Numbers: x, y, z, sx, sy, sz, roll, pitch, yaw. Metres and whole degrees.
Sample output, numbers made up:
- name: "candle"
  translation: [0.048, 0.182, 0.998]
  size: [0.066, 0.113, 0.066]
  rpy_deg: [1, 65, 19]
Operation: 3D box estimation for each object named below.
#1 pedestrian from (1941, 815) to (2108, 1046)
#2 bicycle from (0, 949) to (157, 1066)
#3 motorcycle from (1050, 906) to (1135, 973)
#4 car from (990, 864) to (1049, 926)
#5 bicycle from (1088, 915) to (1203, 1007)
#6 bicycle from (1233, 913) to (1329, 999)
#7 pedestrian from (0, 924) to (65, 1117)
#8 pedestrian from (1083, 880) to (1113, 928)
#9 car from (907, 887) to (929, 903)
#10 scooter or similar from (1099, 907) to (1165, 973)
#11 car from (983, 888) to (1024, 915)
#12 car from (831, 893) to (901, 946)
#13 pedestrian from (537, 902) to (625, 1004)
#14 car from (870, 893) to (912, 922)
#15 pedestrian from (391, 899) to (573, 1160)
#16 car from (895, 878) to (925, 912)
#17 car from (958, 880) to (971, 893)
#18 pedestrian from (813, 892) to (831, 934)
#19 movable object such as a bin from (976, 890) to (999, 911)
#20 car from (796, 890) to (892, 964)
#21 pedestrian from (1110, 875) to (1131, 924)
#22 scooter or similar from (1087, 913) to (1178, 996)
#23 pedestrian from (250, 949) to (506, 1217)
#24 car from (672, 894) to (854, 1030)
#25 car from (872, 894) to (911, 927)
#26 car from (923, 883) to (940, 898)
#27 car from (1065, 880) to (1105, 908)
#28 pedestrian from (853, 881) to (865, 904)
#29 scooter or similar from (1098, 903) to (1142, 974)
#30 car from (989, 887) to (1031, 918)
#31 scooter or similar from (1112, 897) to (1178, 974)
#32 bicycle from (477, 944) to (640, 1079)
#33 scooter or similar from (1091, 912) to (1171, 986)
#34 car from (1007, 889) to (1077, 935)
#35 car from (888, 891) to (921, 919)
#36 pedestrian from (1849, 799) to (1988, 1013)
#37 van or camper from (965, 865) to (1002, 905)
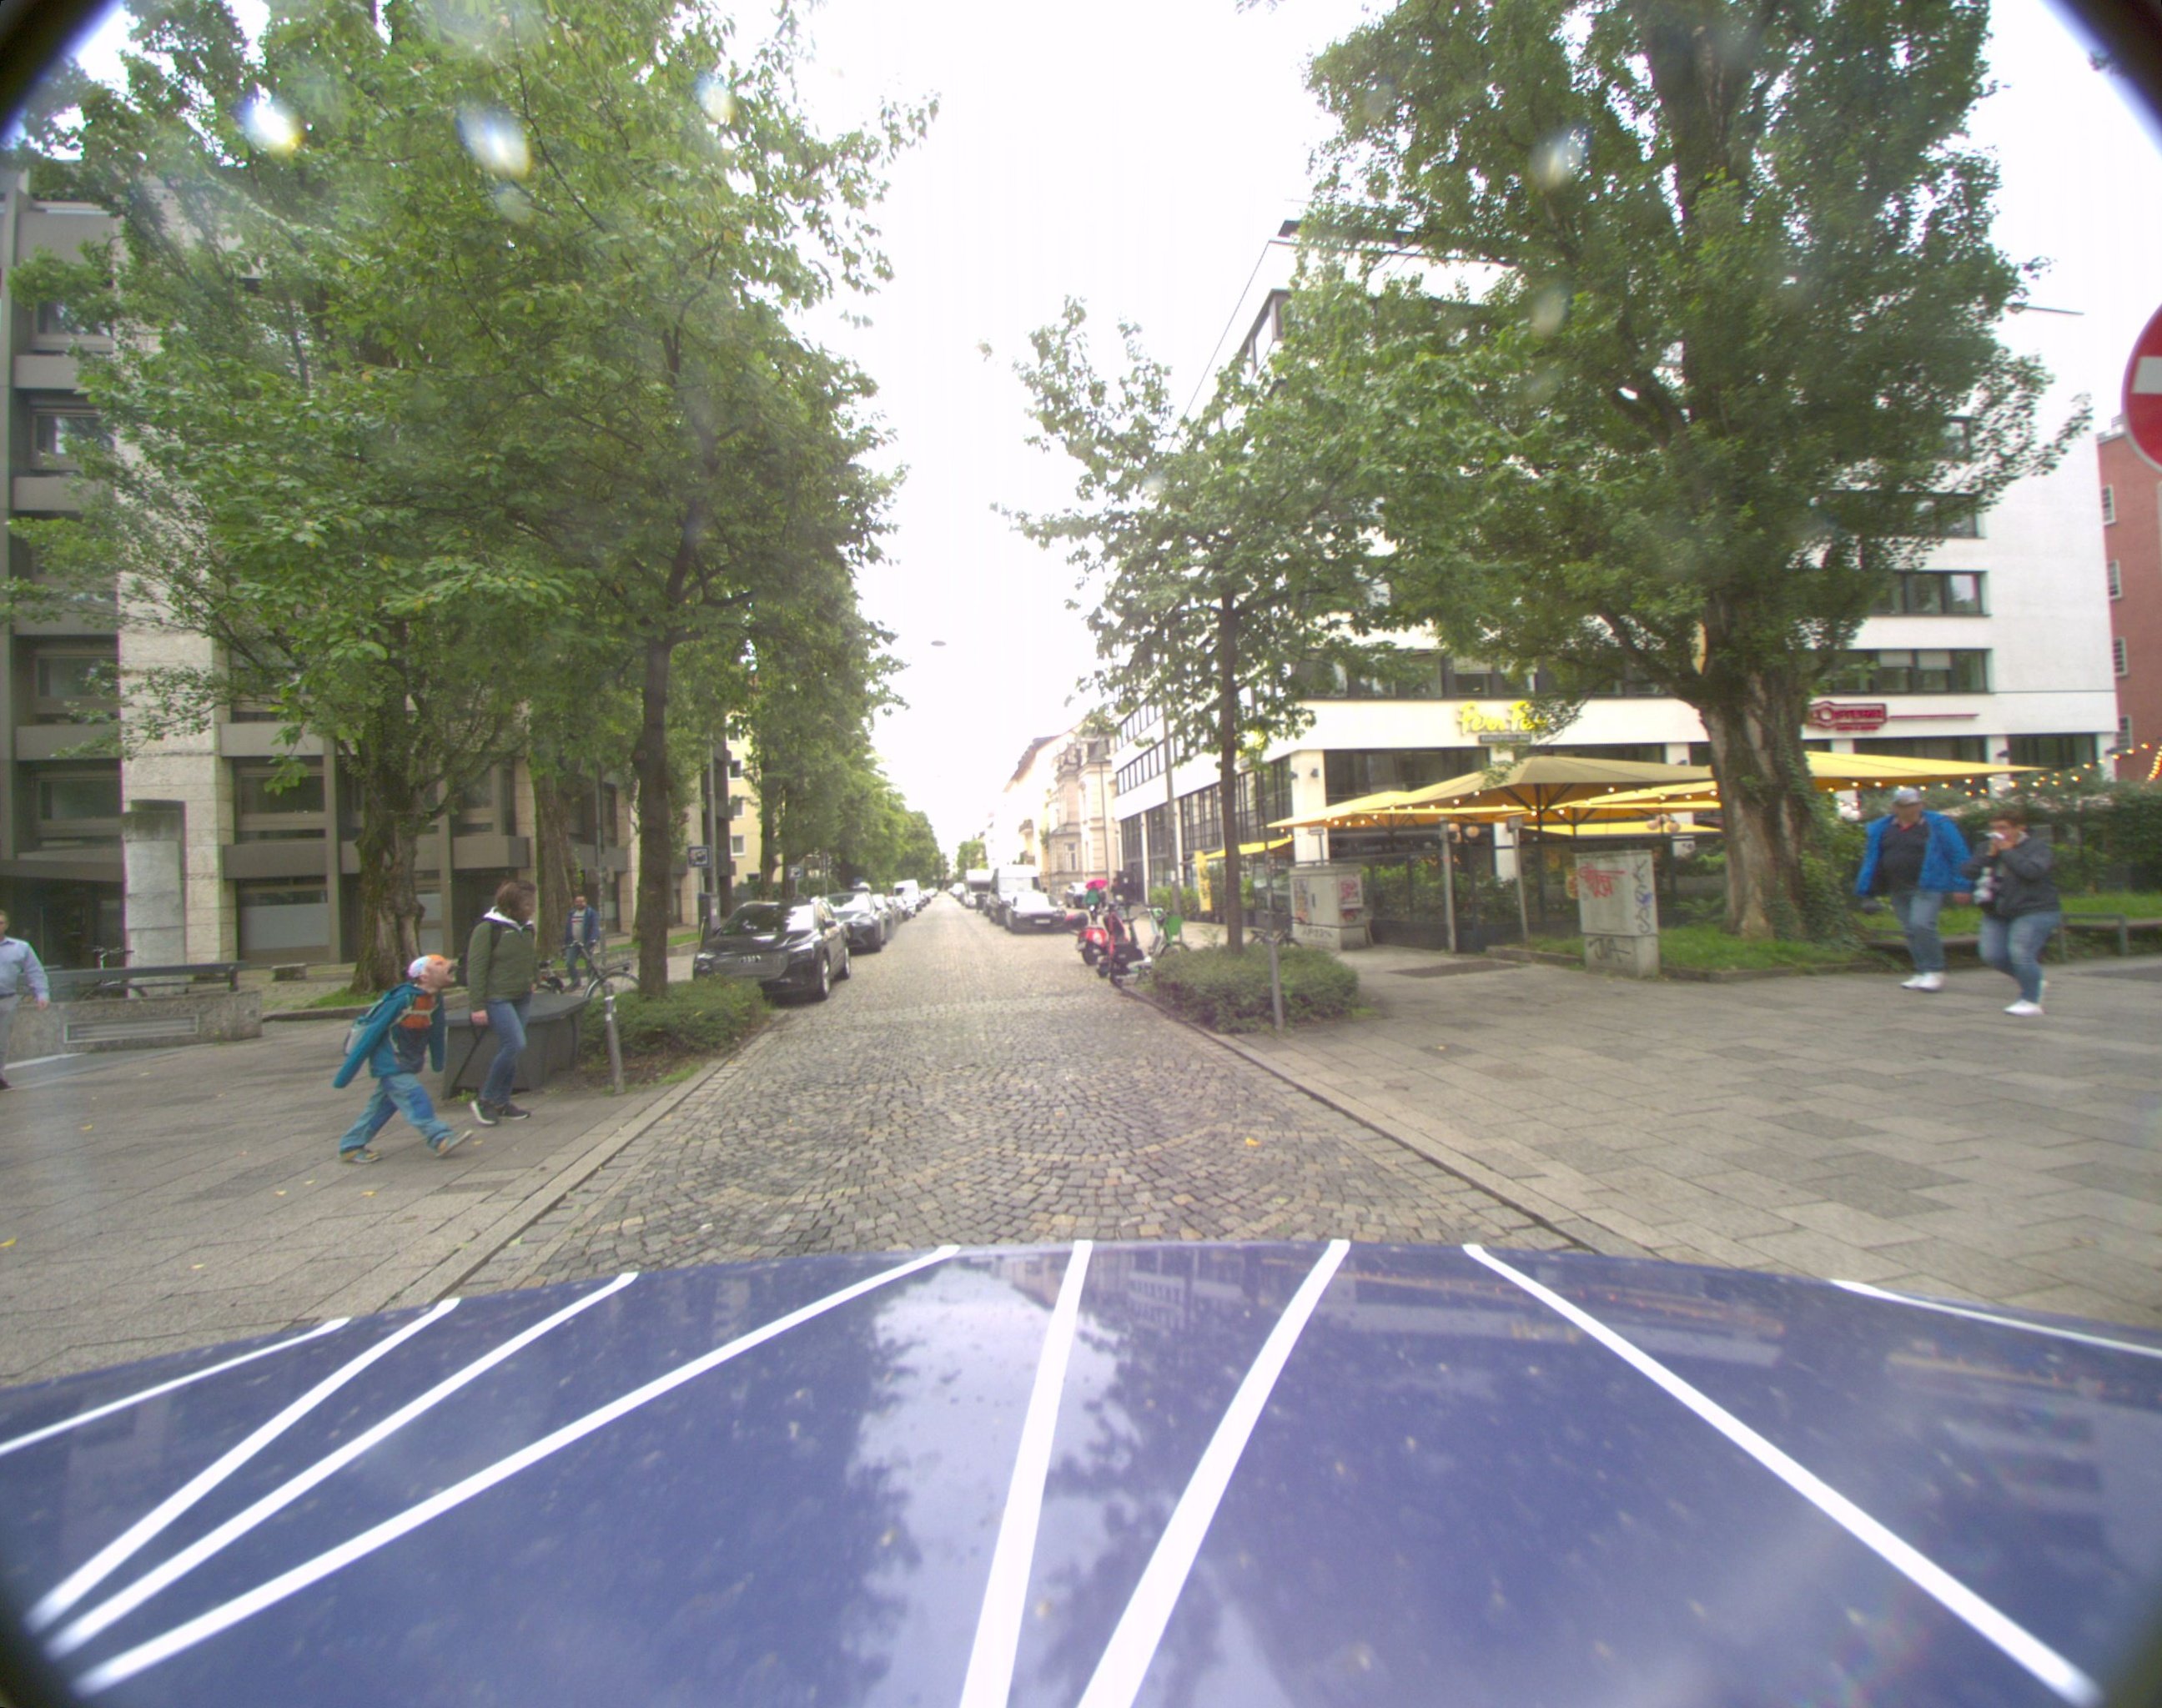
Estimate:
- name: "pedestrian"
  translation: [7.566, 0.573, 6.106]
  size: [0.646, 1.717, 0.702]
  rpy_deg: [-2, -1, -33]
- name: "bicycle"
  translation: [-13.014, 1.913, 9.472]
  size: [1.869, 1.269, 0.721]
  rpy_deg: [-3, -1, -8]
- name: "motorcycle"
  translation: [0.264, 1.681, 15.270]
  size: [0.769, 1.188, 1.995]
  rpy_deg: [-2, -3, 32]
- name: "car"
  translation: [-2.847, 1.760, 33.903]
  size: [2.066, 2.475, 5.846]
  rpy_deg: [-2, -2, -9]
- name: "bicycle"
  translation: [0.982, 1.532, 11.213]
  size: [1.766, 1.136, 0.552]
  rpy_deg: [-2, -2, -40]
- name: "bicycle"
  translation: [2.800, 1.407, 10.840]
  size: [0.554, 1.016, 1.762]
  rpy_deg: [-3, -1, -11]
- name: "pedestrian"
  translation: [-10.092, 1.533, 7.000]
  size: [0.714, 1.714, 0.668]
  rpy_deg: [-2, -1, -40]
- name: "pedestrian"
  translation: [0.619, 1.855, 28.316]
  size: [0.929, 1.695, 0.799]
  rpy_deg: [-3, -1, -7]
- name: "car"
  translation: [-16.831, 4.193, 78.437]
  size: [2.000, 1.379, 3.871]
  rpy_deg: [-4, -1, -13]
- name: "scooter or similar"
  translation: [0.945, 1.600, 14.308]
  size: [0.391, 1.172, 1.248]
  rpy_deg: [-2, -2, -41]
- name: "car"
  translation: [-4.579, 2.734, 44.409]
  size: [2.000, 1.380, 3.998]
  rpy_deg: [-2, -2, -10]
- name: "car"
  translation: [-7.598, 2.257, 27.224]
  size: [2.000, 1.573, 4.339]
  rpy_deg: [-3, -1, -11]
- name: "pedestrian"
  translation: [-8.937, 1.743, 13.606]
  size: [0.868, 1.703, 0.913]
  rpy_deg: [-3, -1, 10]
- name: "car"
  translation: [-10.680, 2.990, 42.939]
  size: [2.000, 1.379, 3.871]
  rpy_deg: [-4, -1, -10]
- name: "pedestrian"
  translation: [-4.213, 1.192, 5.386]
  size: [0.690, 1.690, 0.664]
  rpy_deg: [-3, -1, 6]
- name: "car"
  translation: [-13.589, 3.203, 60.654]
  size: [2.089, 2.418, 5.607]
  rpy_deg: [-4, -1, -12]
- name: "car"
  translation: [-22.532, 6.346, 147.051]
  size: [2.089, 2.417, 5.607]
  rpy_deg: [-3, -2, -11]
- name: "pedestrian"
  translation: [-10.345, 2.346, 30.338]
  size: [0.490, 1.618, 0.568]
  rpy_deg: [-3, -1, -7]
- name: "movable object such as a bin"
  translation: [-6.119, 3.047, 49.641]
  size: [1.256, 1.290, 1.173]
  rpy_deg: [-2, -1, -14]
- name: "car"
  translation: [-6.577, 1.946, 21.624]
  size: [2.020, 1.690, 4.670]
  rpy_deg: [-3, -1, -11]
- name: "pedestrian"
  translation: [1.444, 1.661, 27.917]
  size: [0.576, 1.737, 0.650]
  rpy_deg: [-3, -1, -10]
- name: "scooter or similar"
  translation: [0.827, 1.560, 11.990]
  size: [1.432, 1.137, 0.369]
  rpy_deg: [-2, -1, -33]
- name: "pedestrian"
  translation: [-4.291, 1.349, 4.701]
  size: [0.770, 1.411, 0.819]
  rpy_deg: [-3, -1, 6]
- name: "car"
  translation: [-5.098, 1.620, 12.805]
  size: [1.927, 1.690, 4.199]
  rpy_deg: [-3, -1, -11]
- name: "car"
  translation: [-9.589, 2.822, 38.659]
  size: [1.606, 1.422, 3.560]
  rpy_deg: [-5, -1, -10]
- name: "car"
  translation: [-19.336, 4.688, 98.273]
  size: [2.000, 1.679, 3.871]
  rpy_deg: [-4, -1, -13]
- name: "car"
  translation: [0.194, 2.473, 47.594]
  size: [1.913, 1.523, 4.168]
  rpy_deg: [-3, -2, -7]
- name: "pedestrian"
  translation: [-14.738, 2.561, 50.492]
  size: [0.646, 1.528, 0.708]
  rpy_deg: [-3, -1, -13]
- name: "scooter or similar"
  translation: [0.770, 1.603, 14.729]
  size: [0.327, 1.265, 1.360]
  rpy_deg: [-3, -2, 24]
- name: "car"
  translation: [-3.787, 2.513, 39.839]
  size: [2.000, 1.422, 3.999]
  rpy_deg: [-2, -2, -8]
- name: "scooter or similar"
  translation: [1.167, 1.454, 13.729]
  size: [1.253, 1.265, 0.327]
  rpy_deg: [-2, -1, -40]
- name: "bicycle"
  translation: [-5.695, 1.662, 8.426]
  size: [0.475, 1.129, 1.877]
  rpy_deg: [-3, -1, -1]
- name: "scooter or similar"
  translation: [0.841, 1.598, 12.858]
  size: [1.251, 1.137, 0.327]
  rpy_deg: [-3, -1, -9]
- name: "car"
  translation: [-1.464, 1.980, 26.807]
  size: [2.000, 1.322, 4.114]
  rpy_deg: [-3, -2, -9]
- name: "car"
  translation: [-11.133, 3.187, 48.128]
  size: [1.869, 1.490, 3.871]
  rpy_deg: [-4, -1, -13]
- name: "pedestrian"
  translation: [7.926, 0.470, 7.200]
  size: [0.646, 1.896, 0.702]
  rpy_deg: [-2, -1, -33]
- name: "van or camper"
  translation: [-8.254, 2.584, 63.505]
  size: [2.466, 3.028, 7.313]
  rpy_deg: [-3, -2, -11]
